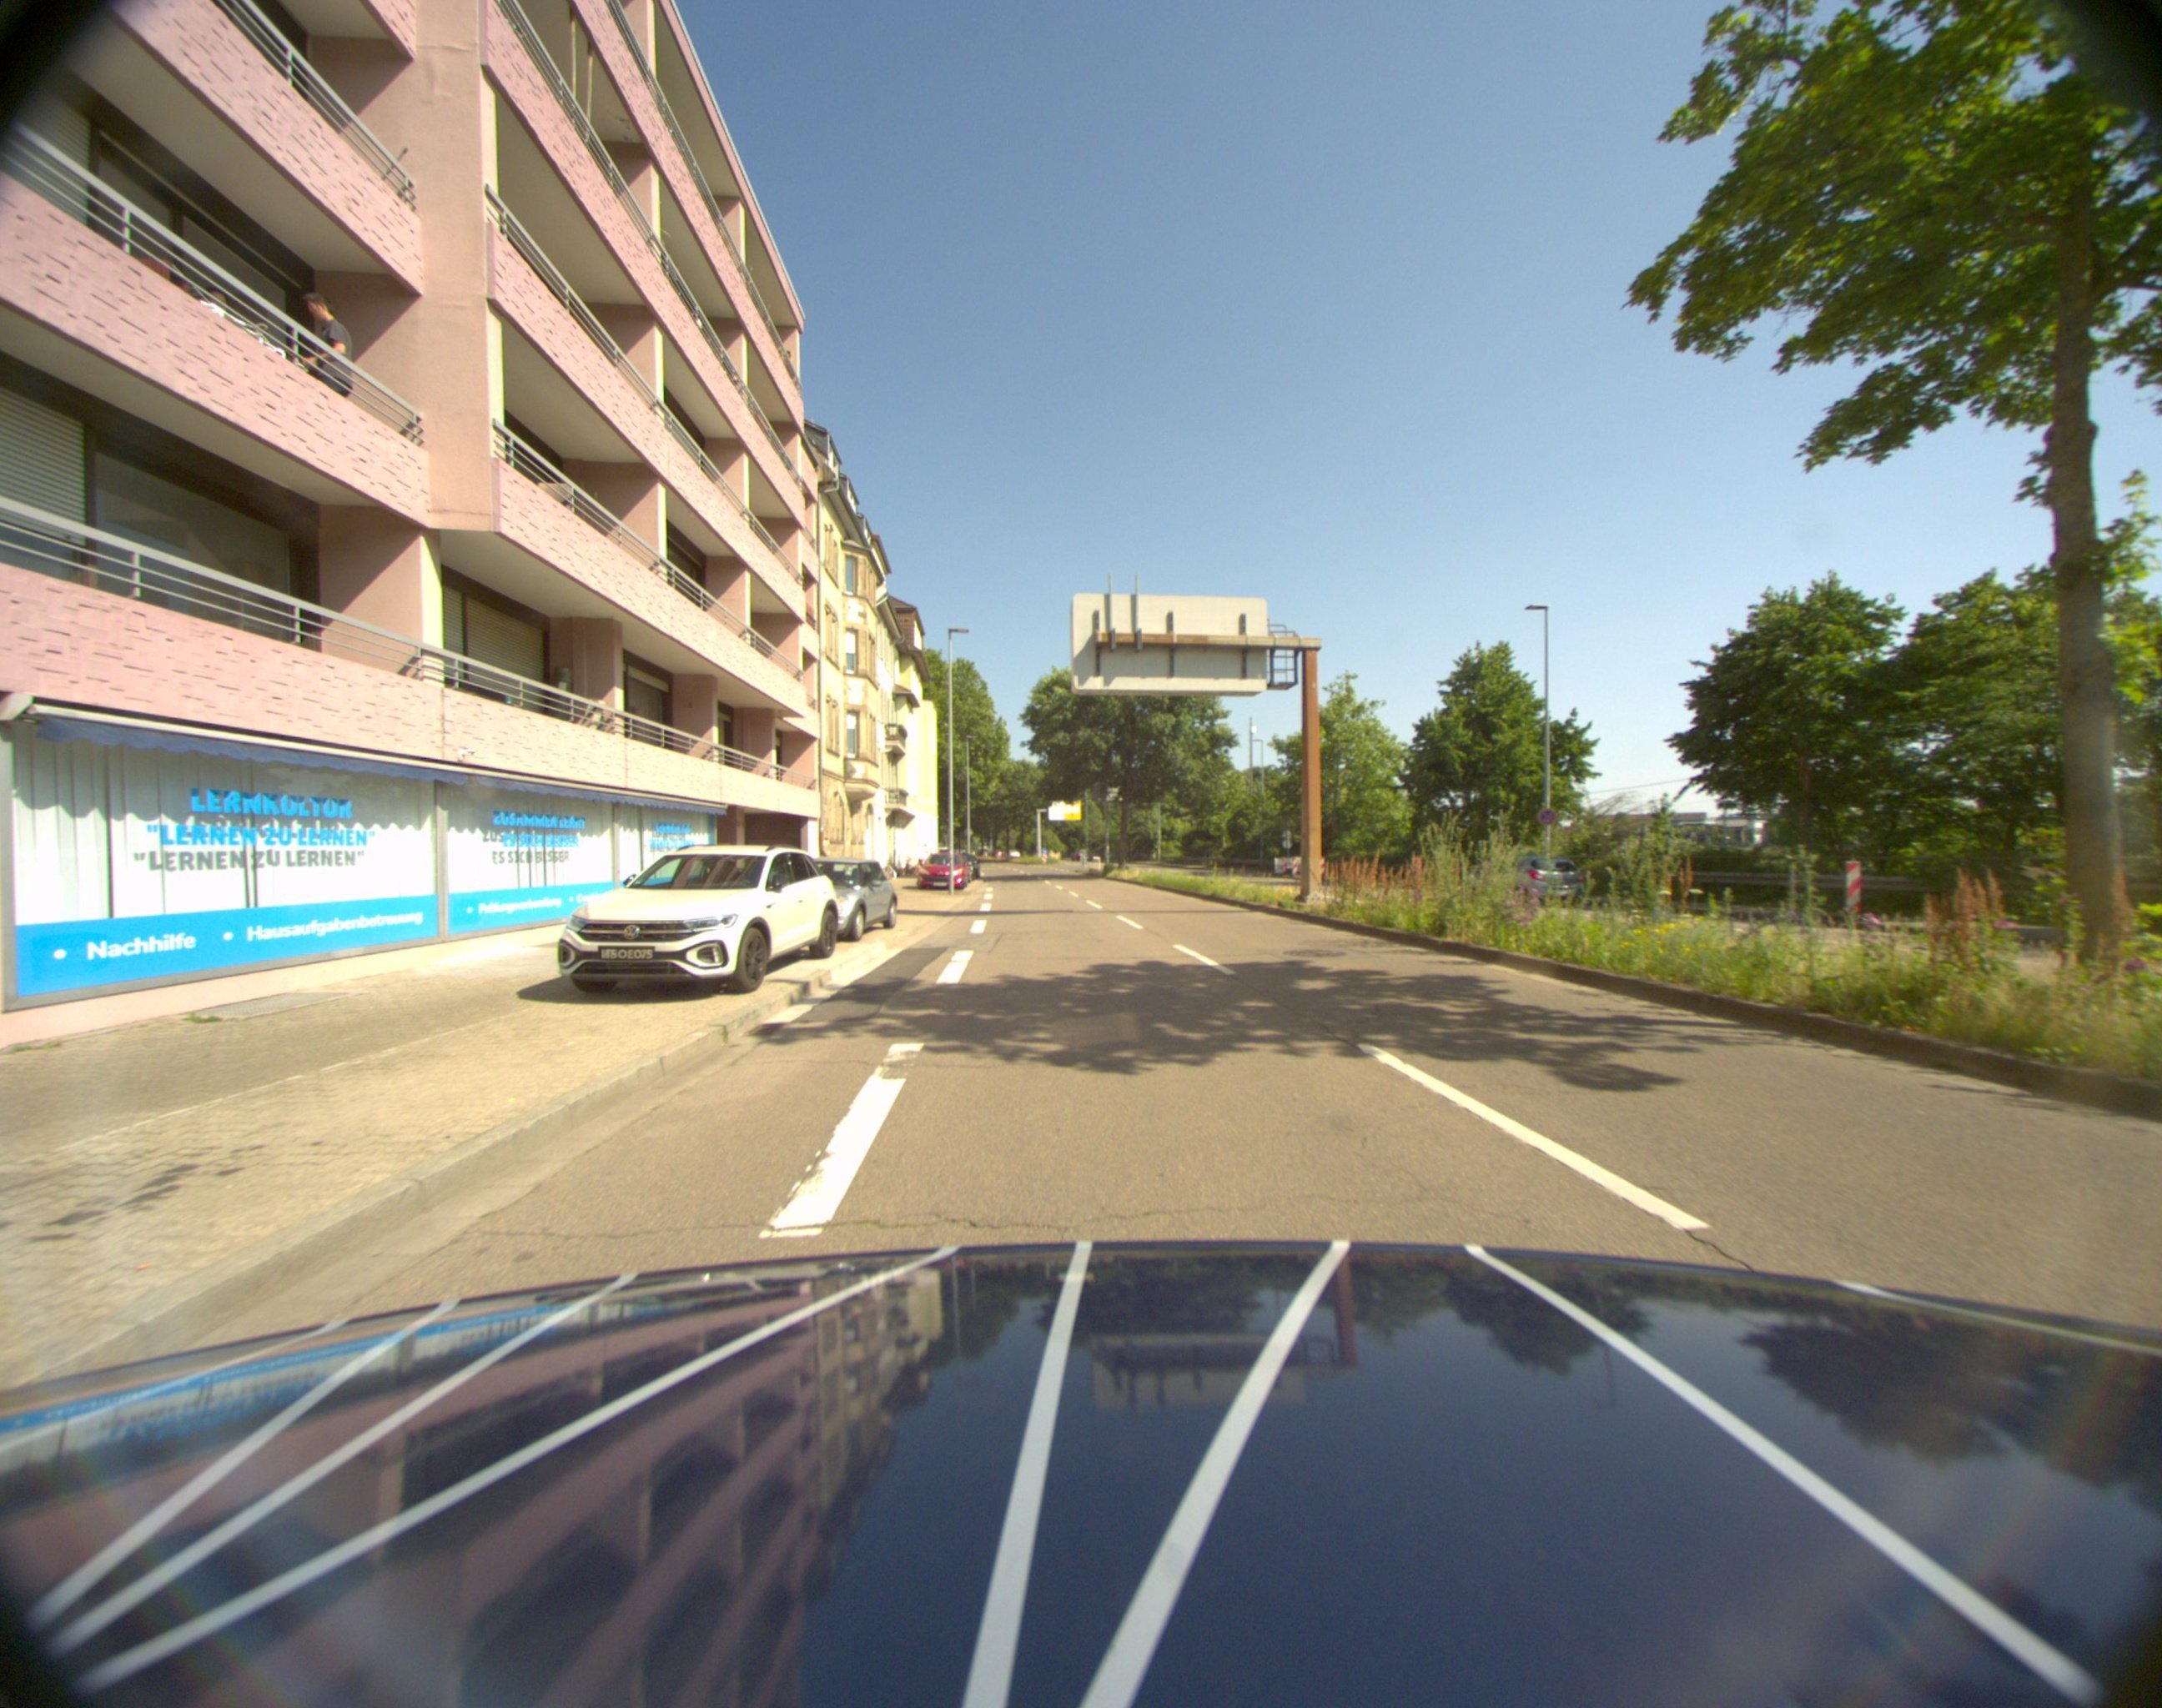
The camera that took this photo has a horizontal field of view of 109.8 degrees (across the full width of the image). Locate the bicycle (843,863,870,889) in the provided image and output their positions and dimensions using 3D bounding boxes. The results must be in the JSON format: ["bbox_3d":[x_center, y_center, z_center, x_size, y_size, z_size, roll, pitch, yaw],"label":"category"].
[{"bbox_3d":[-9.099,0.887,30.842,0.652,0.964,1.863,0,1,-4],"label":"bicycle"}]

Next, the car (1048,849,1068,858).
[{"bbox_3d":[-3.769,-0.082,123.266,2.002,1.403,4.607,0,1,-18],"label":"car"}]

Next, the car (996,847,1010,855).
[{"bbox_3d":[-14.726,-0.615,143.054,1.804,1.511,3.957,0,1,-19],"label":"car"}]

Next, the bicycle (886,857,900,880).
[{"bbox_3d":[-10.180,0.773,41.212,0.567,1.173,1.625,-1,1,-8],"label":"bicycle"}]

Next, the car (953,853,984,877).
[{"bbox_3d":[-6.907,0.642,47.016,1.746,1.408,4.077,0,1,-7],"label":"car"}]

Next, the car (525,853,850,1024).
[{"bbox_3d":[-4.277,0.773,9.167,1.741,1.532,4.352,0,1,-2],"label":"car"}]

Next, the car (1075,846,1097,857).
[{"bbox_3d":[0.630,-0.351,104.689,2.001,1.519,4.692,1,1,-13],"label":"car"}]

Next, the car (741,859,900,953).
[{"bbox_3d":[-4.467,0.828,13.571,1.682,1.400,3.430,1,0,-1],"label":"car"}]

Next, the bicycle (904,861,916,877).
[{"bbox_3d":[-11.138,0.960,49.505,0.609,0.940,2.112,-1,1,-8],"label":"bicycle"}]

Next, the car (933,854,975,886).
[{"bbox_3d":[-6.096,0.728,36.777,1.647,1.444,4.124,0,1,-5],"label":"car"}]

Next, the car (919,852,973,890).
[{"bbox_3d":[-5.569,0.664,31.720,1.790,1.473,3.998,1,1,-4],"label":"car"}]

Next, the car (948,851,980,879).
[{"bbox_3d":[-6.495,0.586,42.484,1.647,1.492,4.007,0,1,-7],"label":"car"}]

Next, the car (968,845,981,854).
[{"bbox_3d":[-21.971,-0.899,156.690,2.002,1.880,3.992,-1,1,-20],"label":"car"}]

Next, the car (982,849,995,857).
[{"bbox_3d":[-19.900,-0.247,162.731,1.925,1.654,4.304,-1,1,-19],"label":"car"}]

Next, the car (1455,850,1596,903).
[{"bbox_3d":[12.959,0.593,22.458,1.650,1.408,3.968,-1,1,-4],"label":"car"}]

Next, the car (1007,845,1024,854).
[{"bbox_3d":[-11.527,-0.804,132.838,1.872,1.444,4.196,1,1,-21],"label":"car"}]

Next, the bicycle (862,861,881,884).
[{"bbox_3d":[-9.462,0.810,34.345,0.509,0.964,1.652,0,1,-4],"label":"bicycle"}]

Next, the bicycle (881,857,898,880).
[{"bbox_3d":[-9.925,0.765,39.390,0.657,1.140,1.625,1,0,-8],"label":"bicycle"}]
